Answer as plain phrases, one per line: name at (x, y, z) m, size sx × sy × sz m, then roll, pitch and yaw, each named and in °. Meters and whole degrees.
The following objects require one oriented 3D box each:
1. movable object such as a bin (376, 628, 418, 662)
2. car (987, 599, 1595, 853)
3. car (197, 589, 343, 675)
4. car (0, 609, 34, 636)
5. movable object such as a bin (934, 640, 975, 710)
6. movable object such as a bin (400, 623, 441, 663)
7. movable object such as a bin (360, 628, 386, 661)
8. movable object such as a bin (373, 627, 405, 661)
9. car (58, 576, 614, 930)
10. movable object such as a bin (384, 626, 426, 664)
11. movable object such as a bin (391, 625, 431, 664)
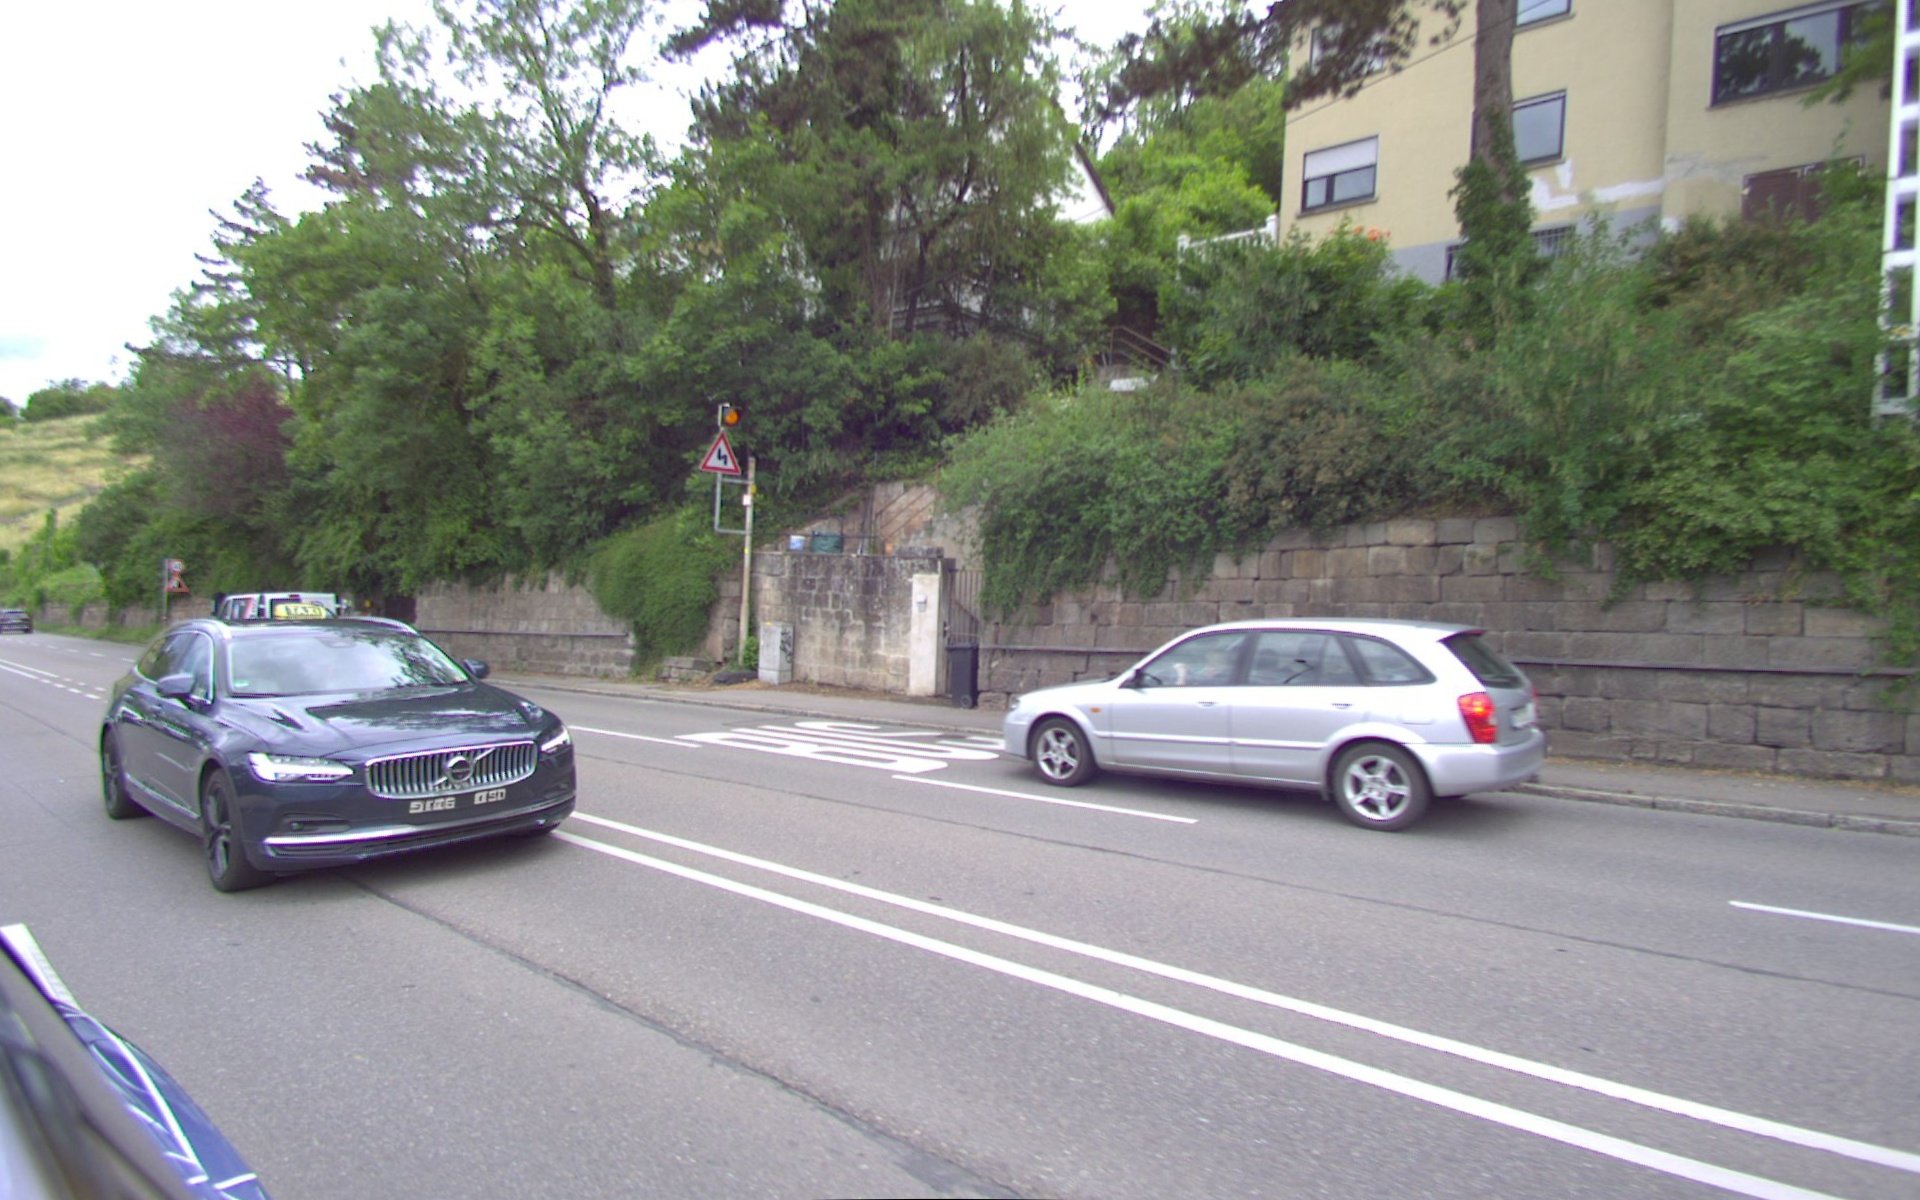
movable object such as a bin at (-16.454, 1.313, 29.595) m, size 0.593 × 0.953 × 0.907 m, roll -1°, pitch -1°, yaw 38°
car at (2.378, 0.787, 7.982) m, size 4.231 × 1.453 × 1.659 m, roll -2°, pitch 0°, yaw 41°
car at (-17.993, 0.779, 26.279) m, size 5.354 × 2.020 × 1.901 m, roll -1°, pitch -1°, yaw 42°
car at (-63.824, 1.494, 68.336) m, size 1.794 × 1.710 × 4.473 m, roll 0°, pitch 0°, yaw -44°
movable object such as a bin at (-0.078, 1.055, 14.428) m, size 0.365 × 0.943 × 0.474 m, roll -1°, pitch 1°, yaw 37°
movable object such as a bin at (-14.965, 1.196, 28.073) m, size 0.708 × 1.079 × 0.780 m, roll -2°, pitch -2°, yaw 38°
movable object such as a bin at (-17.566, 1.324, 30.288) m, size 0.473 × 0.973 × 0.512 m, roll -1°, pitch -1°, yaw 38°
movable object such as a bin at (-16.919, 1.304, 29.995) m, size 0.543 × 0.973 × 0.667 m, roll -1°, pitch -1°, yaw 38°
car at (-4.559, 0.700, 6.968) m, size 5.026 × 1.588 × 1.914 m, roll -1°, pitch 1°, yaw 42°
movable object such as a bin at (-15.991, 1.286, 29.149) m, size 0.620 × 1.042 × 0.890 m, roll -1°, pitch -1°, yaw 38°
movable object such as a bin at (-15.500, 1.235, 28.582) m, size 0.717 × 1.070 × 0.764 m, roll -1°, pitch -1°, yaw 38°
